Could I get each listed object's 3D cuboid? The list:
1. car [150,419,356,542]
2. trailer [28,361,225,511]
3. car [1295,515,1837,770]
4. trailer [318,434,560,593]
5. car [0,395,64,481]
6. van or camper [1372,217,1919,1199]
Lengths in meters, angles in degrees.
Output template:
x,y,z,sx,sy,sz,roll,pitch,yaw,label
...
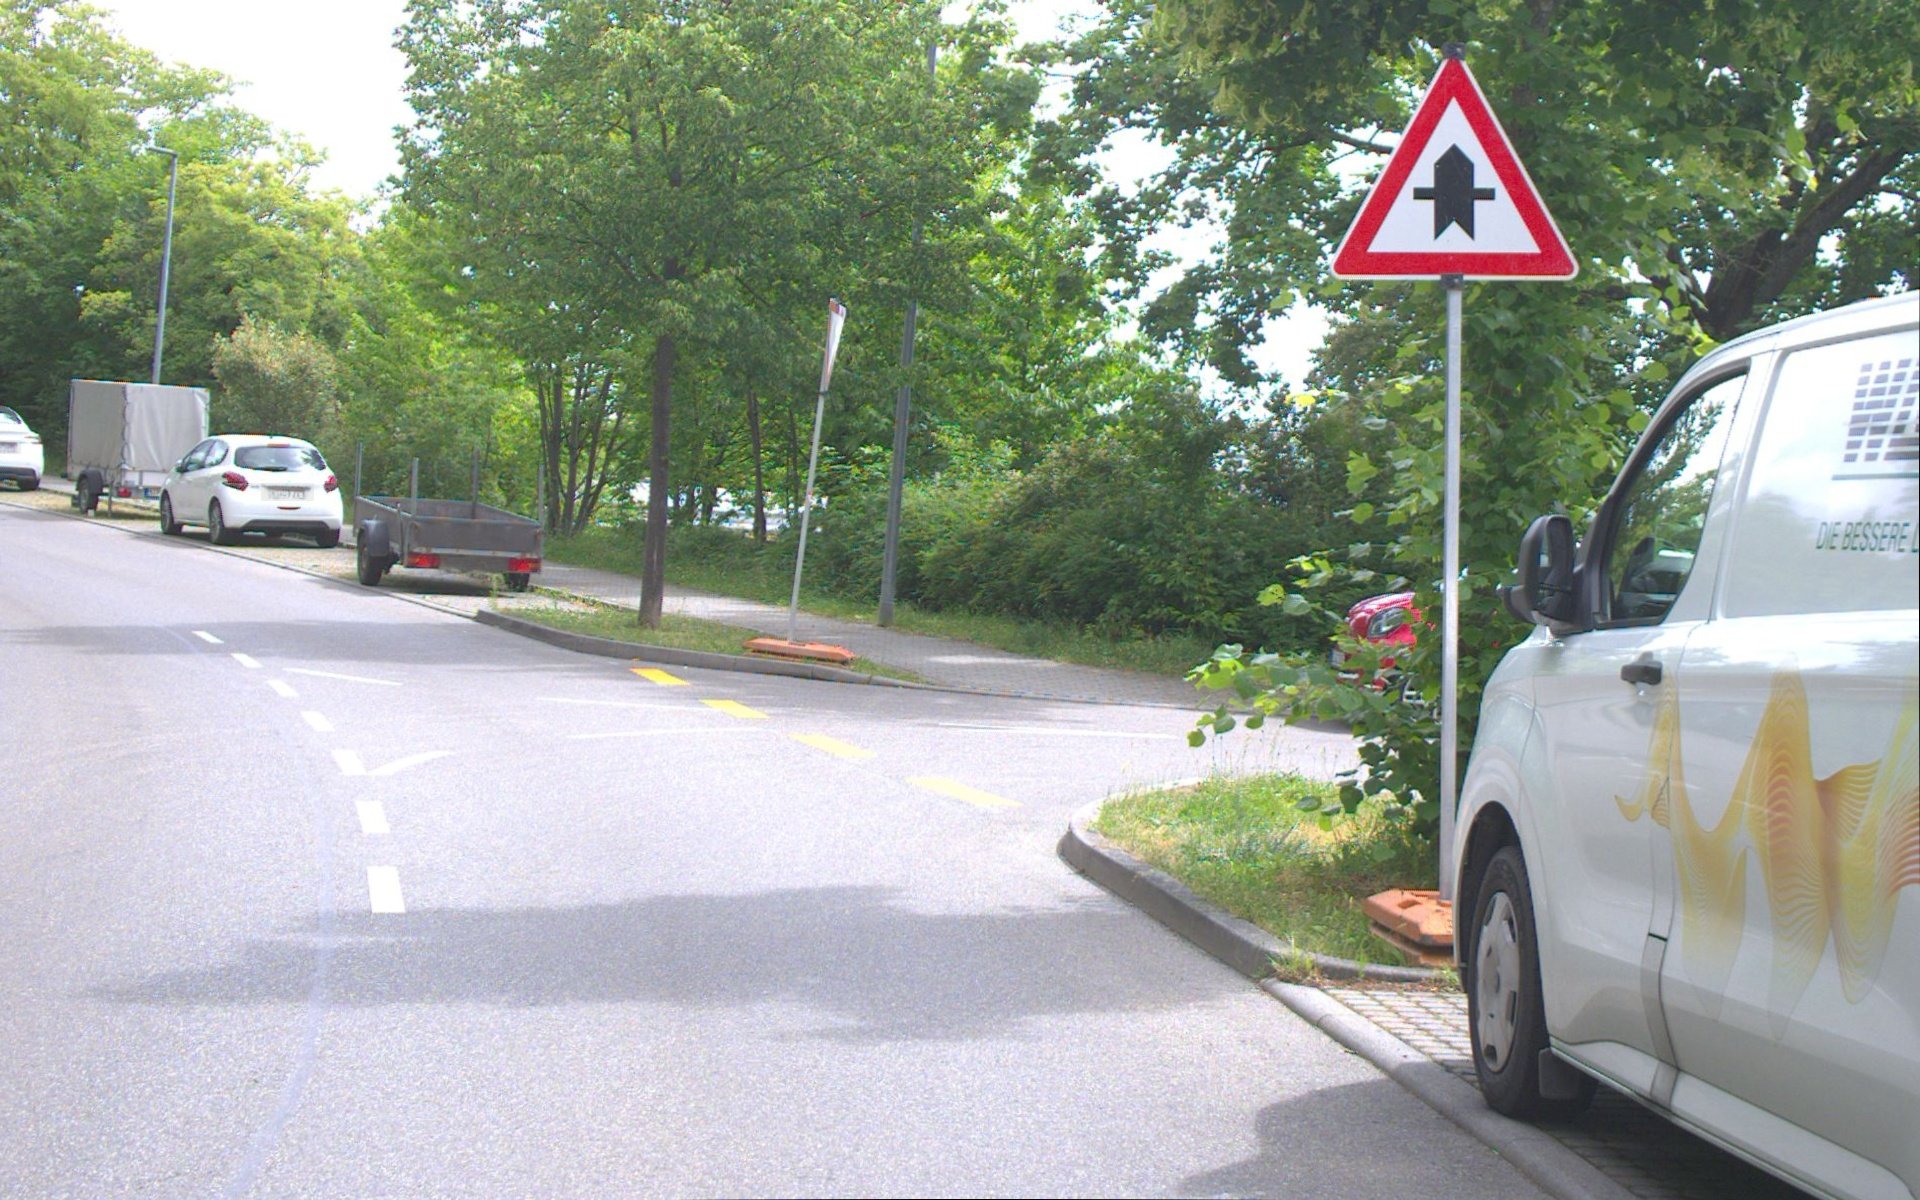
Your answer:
x,y,z,sx,sy,sz,roll,pitch,yaw,label
-9.815,-1.675,47.513,1.768,1.406,4.002,1,4,-26,car
-12.920,-2.562,53.140,1.740,2.103,4.001,1,4,-32,trailer
4.428,0.285,25.483,3.535,1.476,1.782,5,2,-2,car
-5.969,-1.019,39.033,1.784,1.520,4.002,2,4,-22,trailer
-17.420,-2.923,60.079,1.886,1.371,4.352,1,4,-36,car
2.396,0.358,6.540,1.993,1.913,5.267,3,1,-6,van or camper
